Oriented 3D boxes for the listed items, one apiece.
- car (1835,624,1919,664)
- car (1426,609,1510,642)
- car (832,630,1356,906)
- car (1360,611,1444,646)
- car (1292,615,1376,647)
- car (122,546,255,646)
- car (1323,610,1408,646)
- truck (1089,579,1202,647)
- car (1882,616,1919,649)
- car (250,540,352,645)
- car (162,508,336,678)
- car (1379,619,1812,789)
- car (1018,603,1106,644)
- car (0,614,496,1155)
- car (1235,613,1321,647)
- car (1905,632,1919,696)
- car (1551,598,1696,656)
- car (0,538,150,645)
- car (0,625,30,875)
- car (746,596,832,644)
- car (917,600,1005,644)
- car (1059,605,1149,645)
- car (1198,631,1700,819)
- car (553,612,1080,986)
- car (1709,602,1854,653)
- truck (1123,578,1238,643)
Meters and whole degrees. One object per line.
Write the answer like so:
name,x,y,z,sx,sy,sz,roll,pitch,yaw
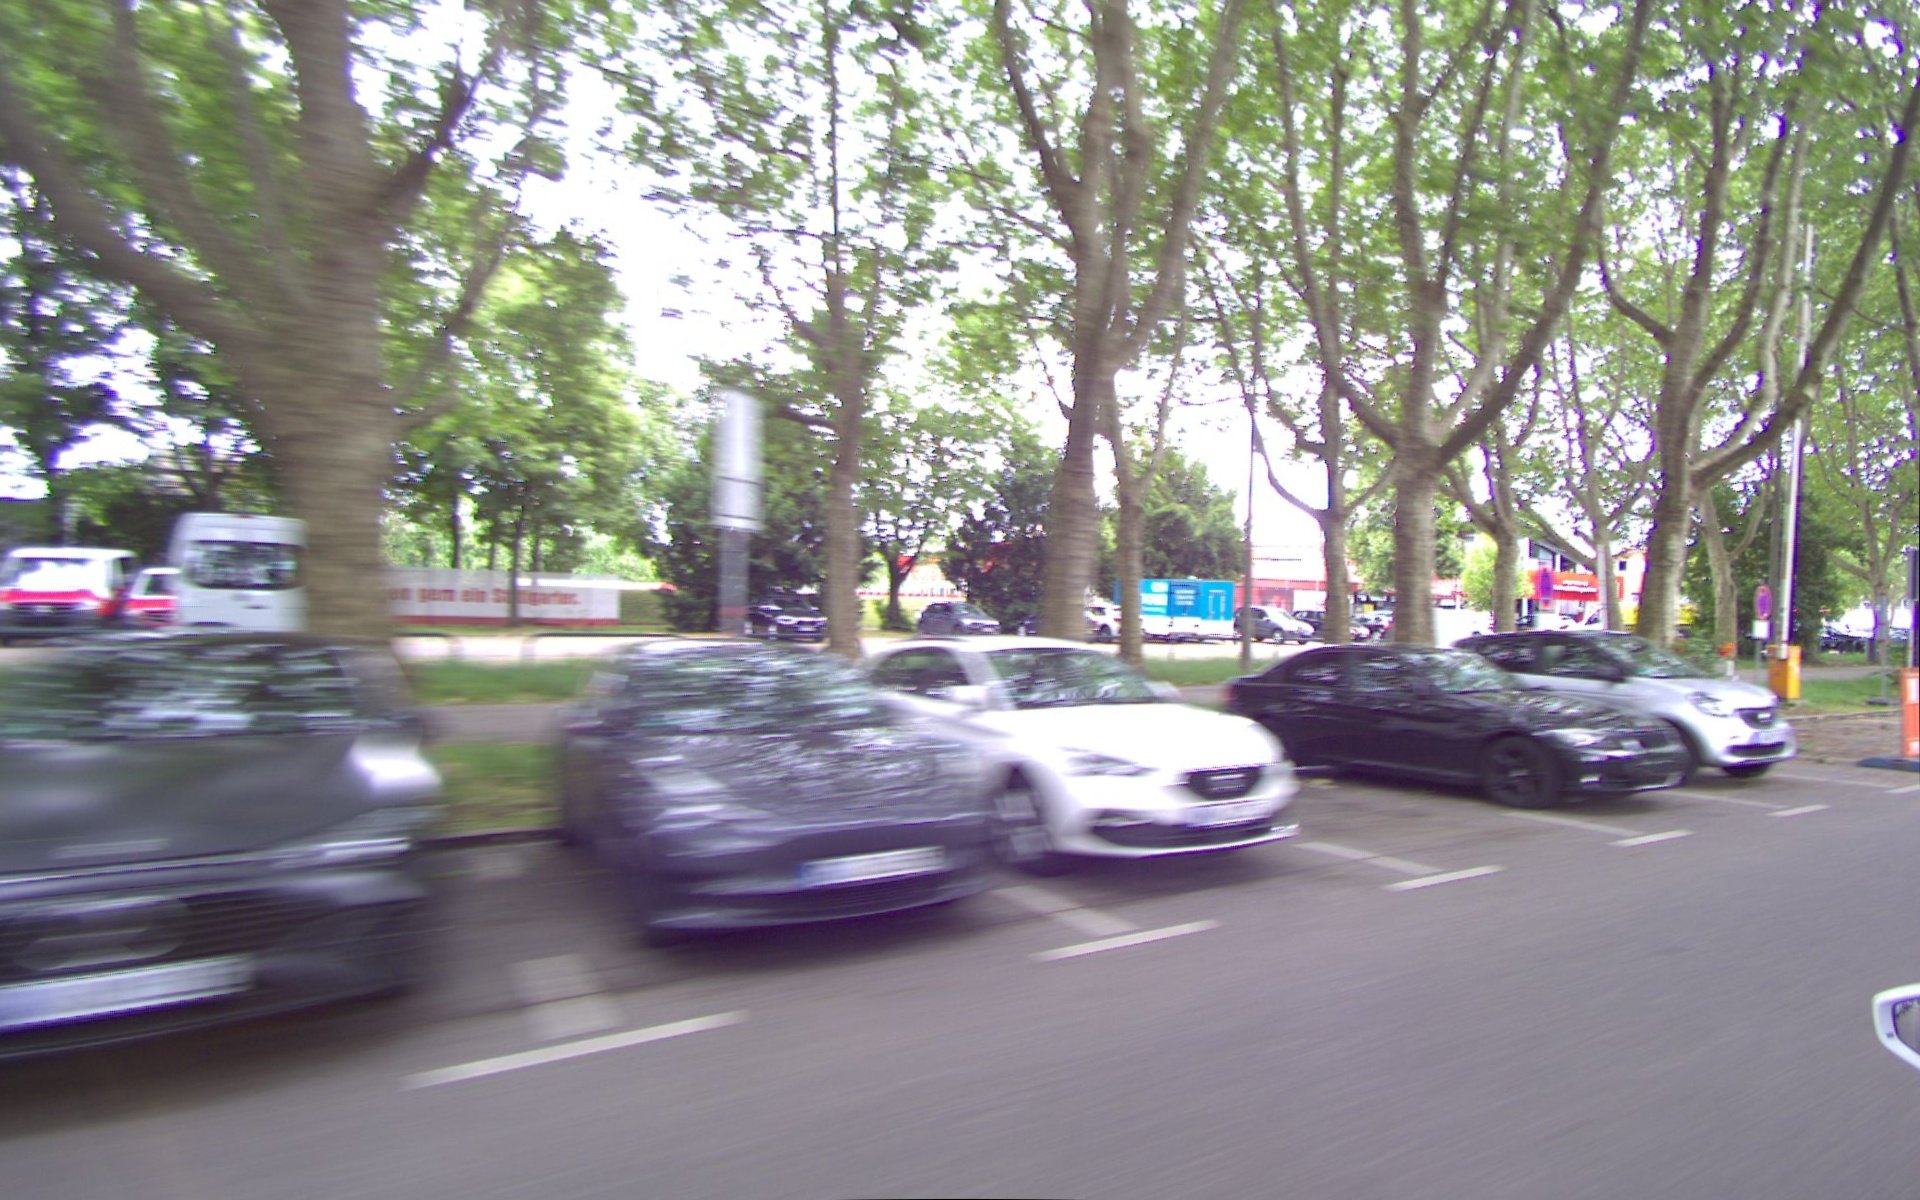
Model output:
car,53.535,2.497,57.267,2.147,2.042,5.059,1,1,-26
car,27.497,1.352,54.498,1.669,1.611,3.979,1,1,-21
car,0.631,0.960,7.656,1.674,1.448,4.381,1,-2,-30
car,22.709,1.433,51.680,1.519,1.611,3.734,1,1,-32
car,18.335,1.503,49.384,1.519,1.368,3.734,1,1,-32
car,-20.094,-0.142,26.423,1.977,2.336,5.972,1,1,-30
car,20.379,1.396,50.596,1.519,1.611,3.734,1,1,-32
truck,8.059,0.510,44.201,1.905,2.779,5.287,1,1,-30
car,61.582,2.118,63.526,2.147,2.042,4.336,1,1,-26
car,-17.969,-0.218,27.623,1.977,2.561,5.972,1,1,-30
car,-12.896,-0.143,18.581,1.976,2.632,5.759,1,1,-29
car,6.950,1.023,11.377,1.676,1.575,3.805,1,-2,-33
car,4.123,0.927,41.128,1.660,1.506,3.782,1,1,-31
car,-3.340,0.817,4.594,1.676,1.448,3.998,1,-2,-33
car,14.680,1.365,46.554,1.518,1.368,3.735,1,1,-31
car,23.688,1.396,21.537,1.978,1.446,4.641,1,-3,-31
car,28.692,1.104,43.598,1.518,2.262,5.050,1,1,-31
car,-22.188,-0.242,25.193,1.977,2.361,5.972,1,1,-30
car,-5.637,0.815,4.059,1.672,1.448,3.815,1,-2,-26
car,-5.967,0.651,34.756,1.660,1.506,3.782,1,1,-31
car,-0.011,0.826,38.474,1.660,1.506,3.782,1,1,-31
car,5.984,1.009,42.073,1.693,1.506,3.782,1,1,-31
car,4.563,1.036,10.078,1.676,1.448,4.308,1,-2,-33
car,-1.149,0.848,5.989,1.676,1.448,3.805,2,-3,-33
car,40.275,1.286,49.420,2.147,2.262,5.059,1,1,-26
truck,10.048,0.422,46.163,2.180,2.779,5.211,1,1,-30
